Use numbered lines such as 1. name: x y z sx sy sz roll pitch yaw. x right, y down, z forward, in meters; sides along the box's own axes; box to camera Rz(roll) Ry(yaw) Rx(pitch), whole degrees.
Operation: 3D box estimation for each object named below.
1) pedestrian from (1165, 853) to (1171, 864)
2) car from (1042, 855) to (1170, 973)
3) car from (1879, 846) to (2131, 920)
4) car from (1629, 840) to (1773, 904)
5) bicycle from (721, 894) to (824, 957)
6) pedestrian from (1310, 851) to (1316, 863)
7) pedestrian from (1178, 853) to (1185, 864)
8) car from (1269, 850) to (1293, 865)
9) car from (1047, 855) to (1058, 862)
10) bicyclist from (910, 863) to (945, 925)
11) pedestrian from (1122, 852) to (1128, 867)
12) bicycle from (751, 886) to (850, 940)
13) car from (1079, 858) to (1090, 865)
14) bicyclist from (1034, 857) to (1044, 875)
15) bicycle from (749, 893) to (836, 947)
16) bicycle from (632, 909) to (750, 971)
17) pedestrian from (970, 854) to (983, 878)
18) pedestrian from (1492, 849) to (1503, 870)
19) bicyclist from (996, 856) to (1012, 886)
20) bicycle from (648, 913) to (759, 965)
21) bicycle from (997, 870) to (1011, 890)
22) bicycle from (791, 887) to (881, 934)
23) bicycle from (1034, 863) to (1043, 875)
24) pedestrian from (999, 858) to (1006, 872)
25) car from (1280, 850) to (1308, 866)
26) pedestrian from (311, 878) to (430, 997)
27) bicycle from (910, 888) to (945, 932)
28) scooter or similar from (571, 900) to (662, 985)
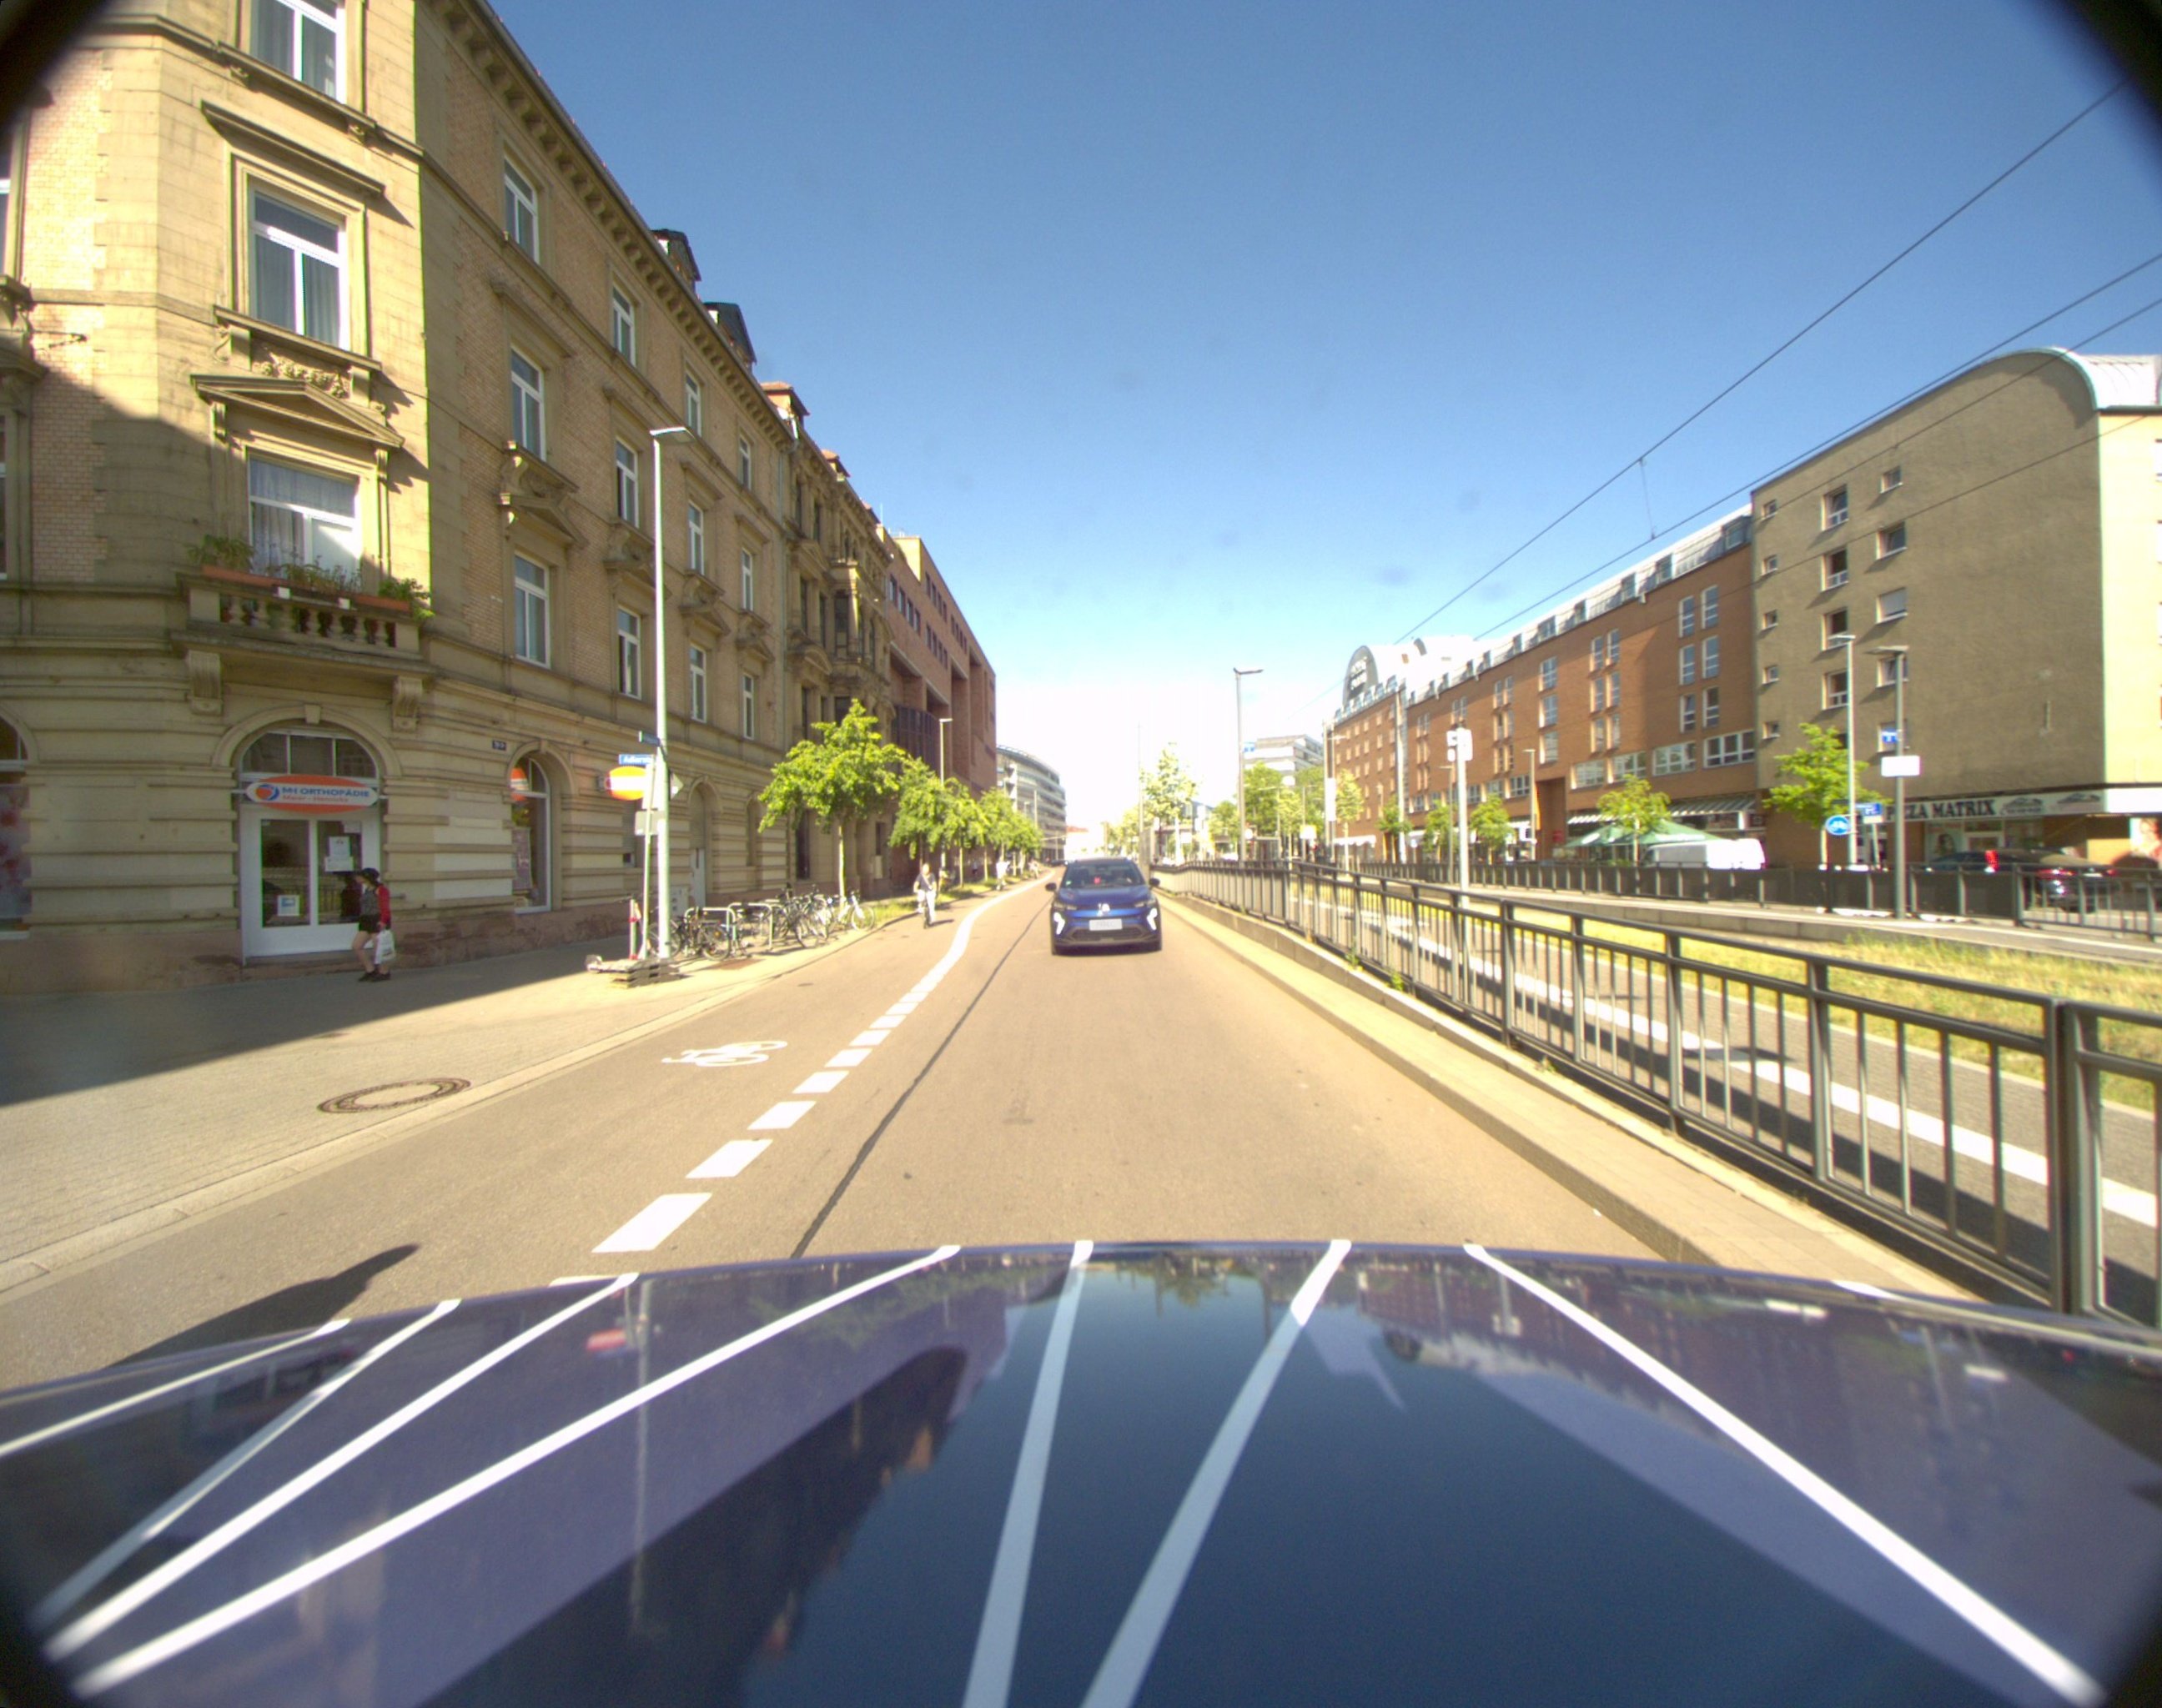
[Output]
1. pedestrian: 11.840 0.586 103.704 0.608 1.560 0.728 -1 0 21
2. car: 0.393 0.877 13.059 1.802 1.596 3.999 -2 1 1
3. car: 24.200 0.694 20.166 1.819 1.749 4.000 -1 0 0
4. car: 25.344 0.673 31.412 1.997 2.356 5.649 -1 0 8
5. bicycle: -5.929 1.365 14.637 1.727 1.094 0.607 1 0 4
6. pedestrian: 34.171 0.422 111.931 0.716 1.745 0.779 -1 0 1
7. pedestrian: 13.973 0.641 105.618 0.608 1.560 0.729 -1 0 33
8. car: 25.039 0.425 95.139 1.998 1.674 3.999 -2 1 1
9. car: -6.588 0.998 174.182 1.882 1.455 4.001 -2 1 7
10. bicyclist: -4.023 1.034 19.946 0.659 1.528 0.909 -3 0 0
11. pedestrian: 5.241 0.649 90.615 0.710 1.713 0.752 -1 1 -1
12. bicycle: -6.452 1.349 17.511 1.999 1.121 0.710 1 0 2
13. car: 0.898 1.701 172.176 1.882 1.455 4.002 -2 1 8
14. bicyclist: -3.978 1.104 71.304 0.755 1.607 0.762 -3 0 4
15. bicycle: -6.132 1.396 16.195 1.603 1.039 0.607 1 0 4
16. bicycle: -6.399 1.398 12.499 1.673 0.938 0.607 0 0 8
17. pedestrian: -8.177 0.950 59.357 0.790 1.872 1.106 -1 1 0
18. pedestrian: 35.560 0.470 64.909 0.622 1.830 0.644 -1 1 -1
19. bicyclist: -4.495 0.974 44.332 0.684 1.718 0.909 -3 0 3
20. bicycle: -6.527 1.462 13.168 1.673 0.816 0.607 0 0 7
21. bicycle: -4.469 1.481 44.243 0.578 1.090 1.507 -3 0 2
22. bicycle: -6.022 1.391 18.789 2.001 1.086 0.846 1 0 -9
23. bicycle: -3.994 1.403 71.255 0.578 1.090 1.507 -3 0 3
24. pedestrian: -8.510 1.182 82.211 0.633 1.478 0.736 -1 1 0
25. car: 23.852 0.456 85.330 1.998 1.674 3.999 -2 1 1
26. pedestrian: -9.724 1.108 10.434 0.710 1.533 0.928 -1 1 12
27. bicycle: -3.995 1.455 19.913 0.558 1.021 1.507 -3 0 0
28. scooter or similar: -6.770 1.274 11.094 1.113 1.183 0.419 0 0 8
